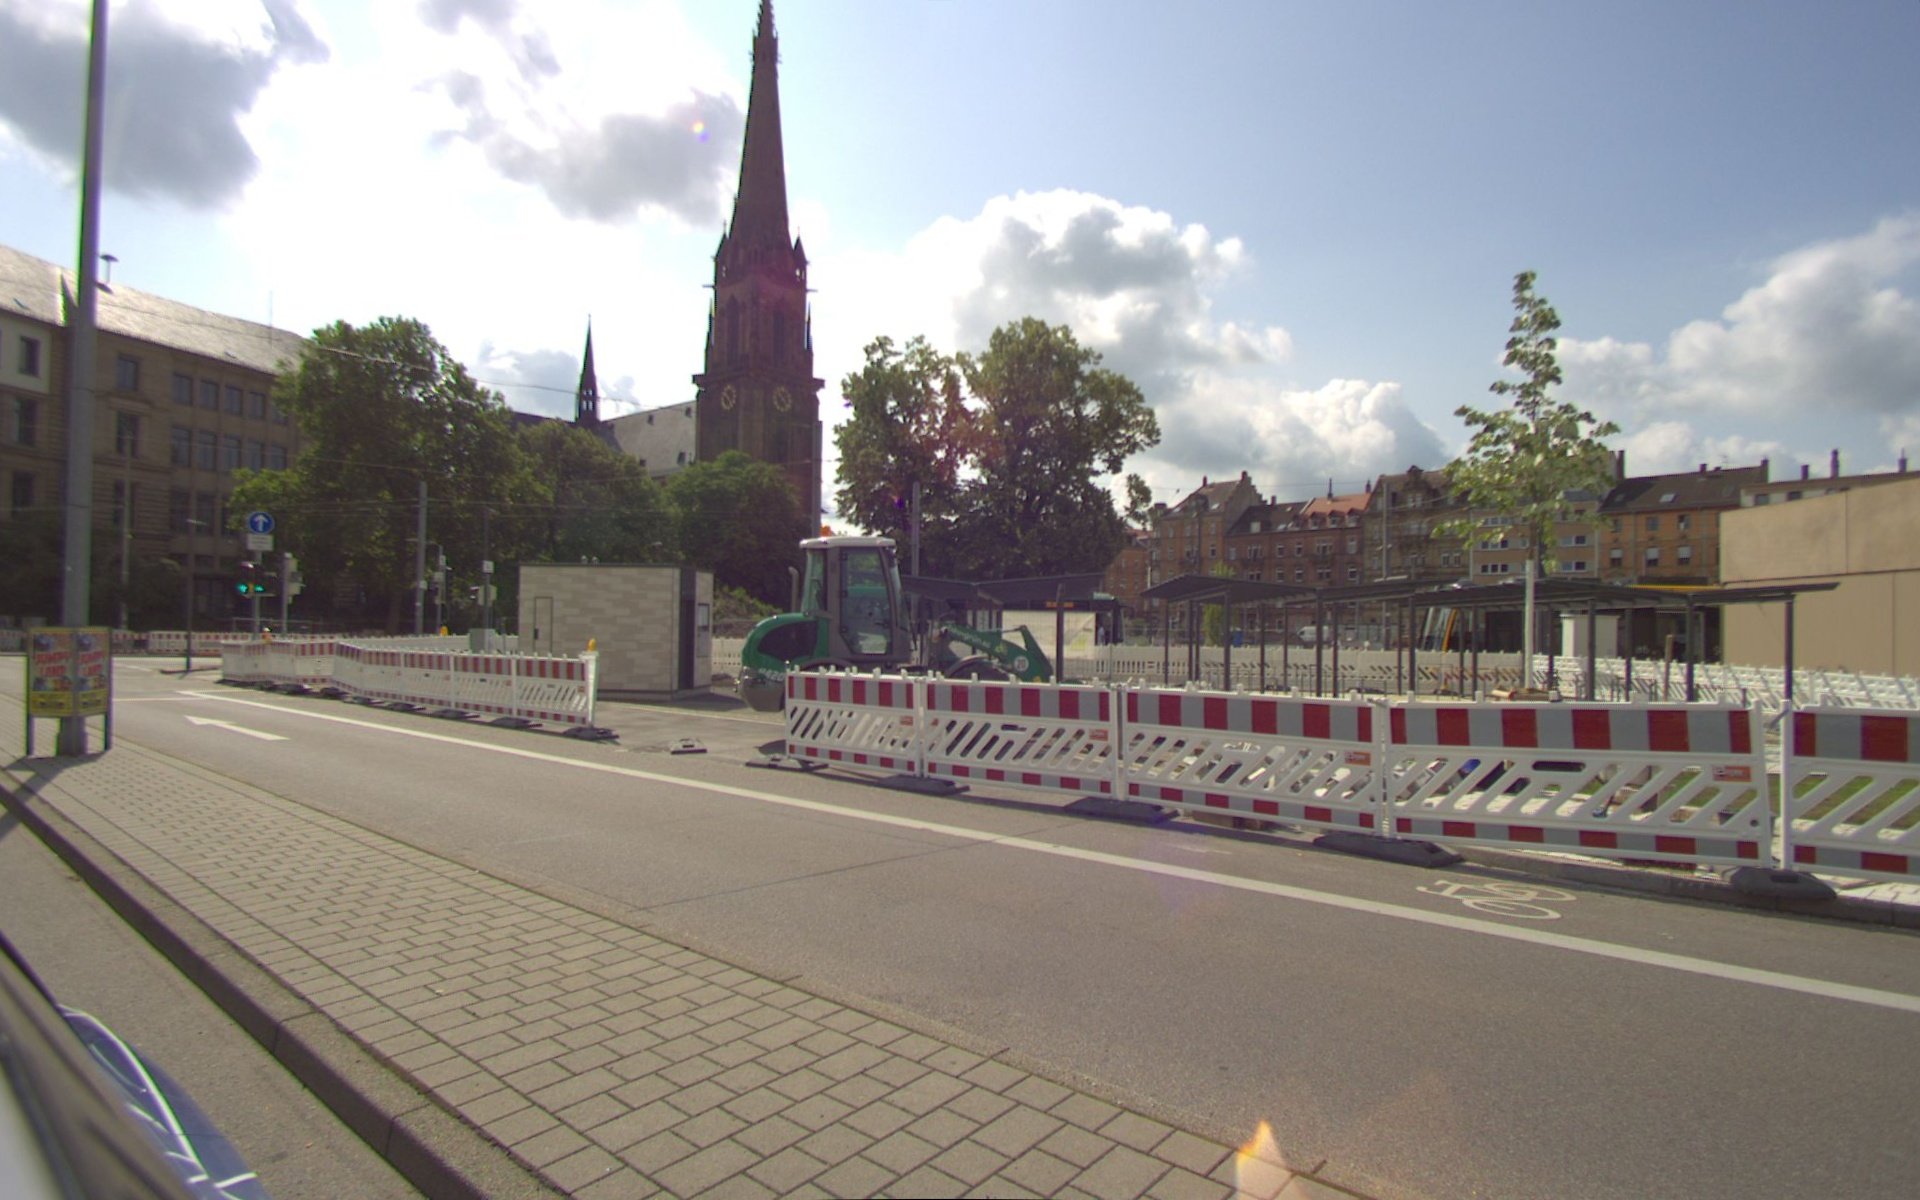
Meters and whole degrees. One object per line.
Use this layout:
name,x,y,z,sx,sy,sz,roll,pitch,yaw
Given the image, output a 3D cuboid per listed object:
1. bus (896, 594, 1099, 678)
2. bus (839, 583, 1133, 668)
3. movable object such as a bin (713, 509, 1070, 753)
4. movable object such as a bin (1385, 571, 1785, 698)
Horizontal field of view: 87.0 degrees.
bus,1.477,1.397,39.441,7.668,3.081,2.369,0,-2,6
bus,1.091,1.056,42.530,11.927,3.287,2.988,0,-2,6
movable object such as a bin,-0.876,0.428,13.576,4.386,2.972,2.001,1,-2,-2
movable object such as a bin,18.024,0.976,29.894,9.573,3.450,3.014,0,-2,8
